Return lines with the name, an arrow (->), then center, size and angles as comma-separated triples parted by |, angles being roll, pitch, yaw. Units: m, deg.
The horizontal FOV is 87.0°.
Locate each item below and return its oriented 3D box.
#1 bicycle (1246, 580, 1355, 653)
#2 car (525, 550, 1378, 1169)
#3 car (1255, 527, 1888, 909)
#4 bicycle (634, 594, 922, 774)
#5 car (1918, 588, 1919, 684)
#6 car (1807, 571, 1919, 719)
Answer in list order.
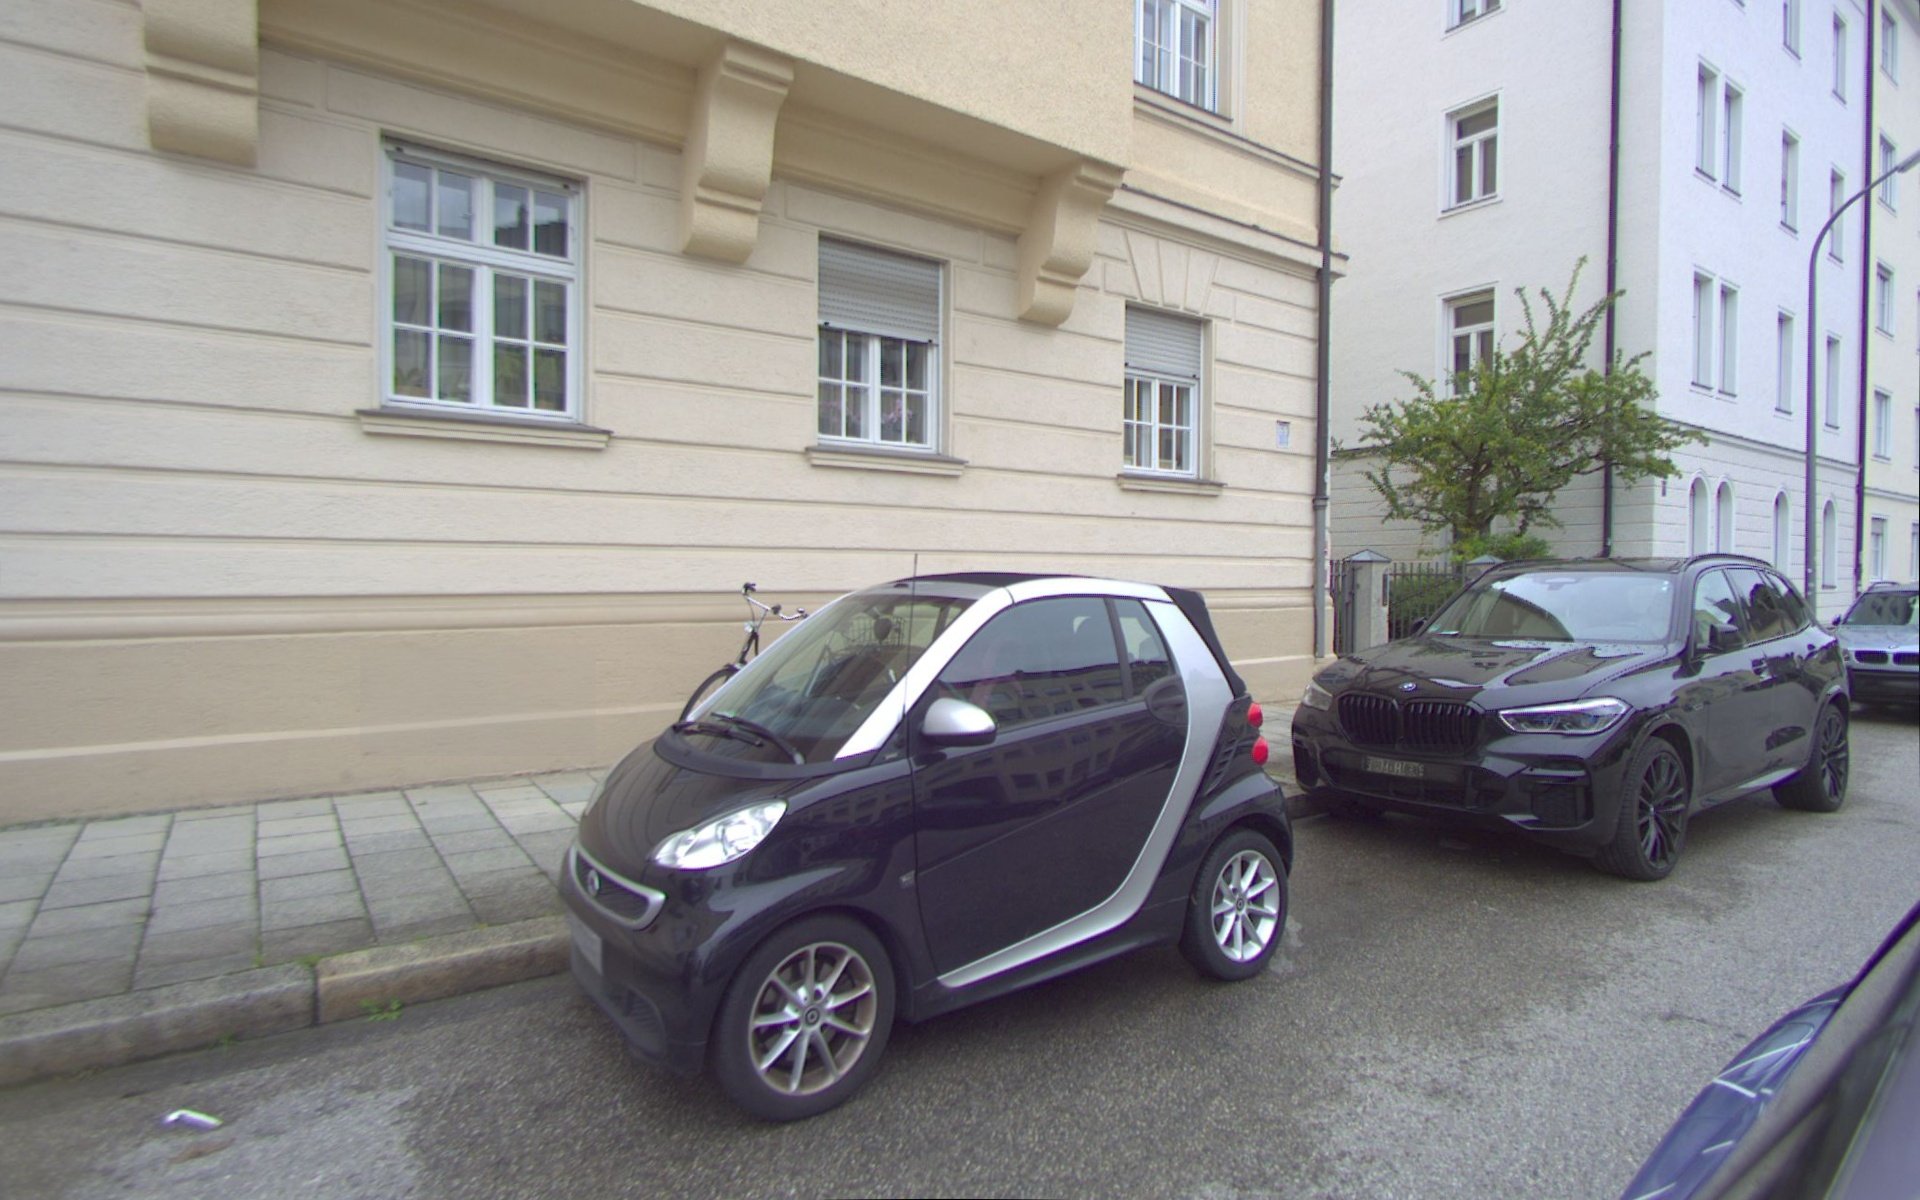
bicycle -> 5.881, 0.252, 17.583 | 0.569, 1.107, 1.881 | -1, 4, -29
car -> 0.057, 0.625, 4.024 | 3.051, 1.543, 1.540 | -1, 0, -34
car -> 4.276, 0.504, 6.763 | 4.773, 1.738, 1.875 | -1, 0, -35
bicycle -> -1.242, 0.524, 7.147 | 1.916, 1.096, 0.581 | 0, 4, -36
car -> 16.485, 0.534, 15.681 | 4.011, 1.445, 1.684 | -1, 2, -36
car -> 12.391, 0.472, 12.676 | 4.374, 1.654, 1.728 | -1, 2, -36
